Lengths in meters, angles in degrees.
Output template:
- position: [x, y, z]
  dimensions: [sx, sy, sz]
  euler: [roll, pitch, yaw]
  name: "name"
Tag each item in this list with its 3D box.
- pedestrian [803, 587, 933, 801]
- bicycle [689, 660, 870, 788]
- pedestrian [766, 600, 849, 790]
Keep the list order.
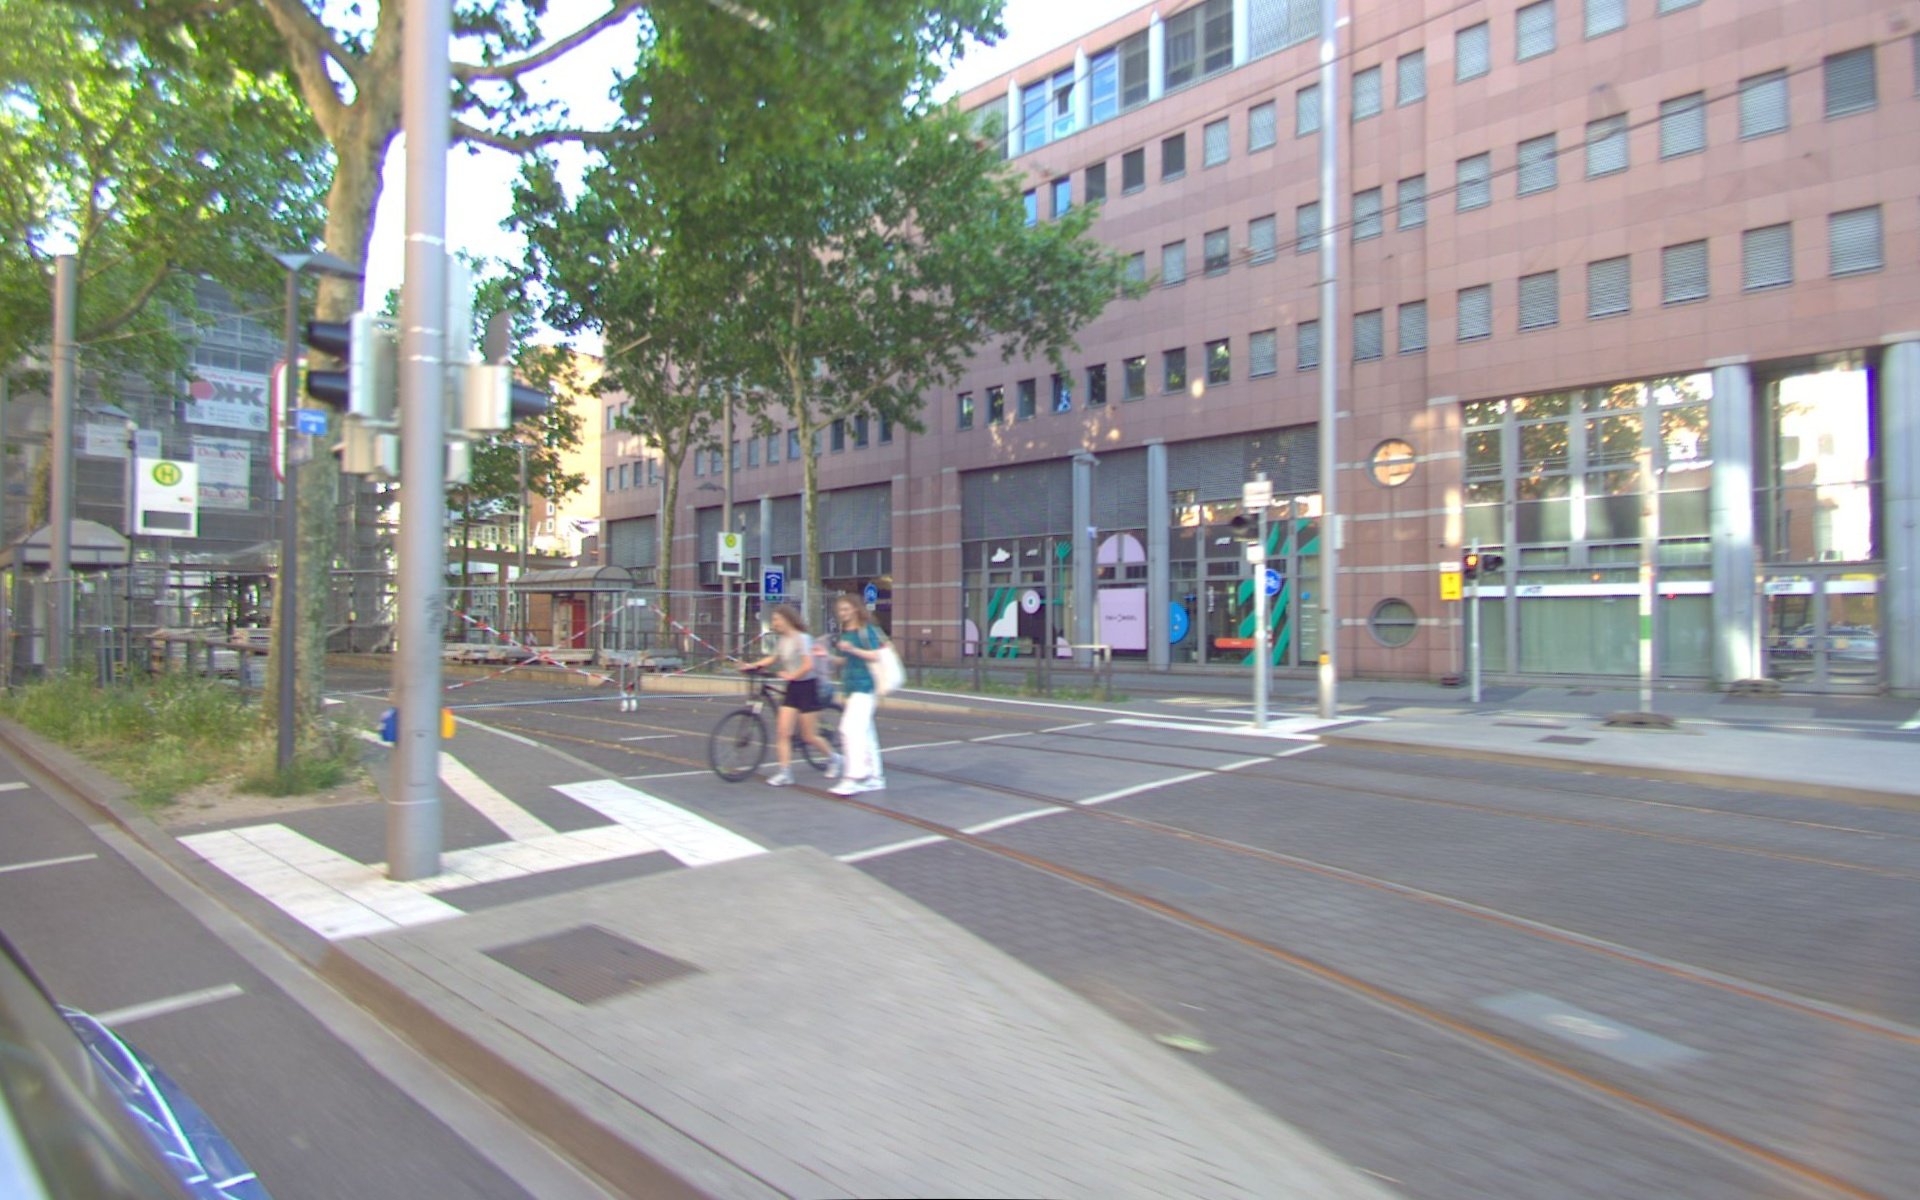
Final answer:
- position: [-0.800, 0.783, 8.846]
  dimensions: [0.847, 1.748, 0.770]
  euler: [-2, -2, 39]
  name: "pedestrian"
- position: [-1.707, 1.152, 9.833]
  dimensions: [0.481, 1.087, 1.809]
  euler: [-2, -3, 43]
  name: "bicycle"
- position: [-1.416, 0.857, 9.422]
  dimensions: [0.531, 1.692, 0.560]
  euler: [-2, -3, 43]
  name: "pedestrian"
